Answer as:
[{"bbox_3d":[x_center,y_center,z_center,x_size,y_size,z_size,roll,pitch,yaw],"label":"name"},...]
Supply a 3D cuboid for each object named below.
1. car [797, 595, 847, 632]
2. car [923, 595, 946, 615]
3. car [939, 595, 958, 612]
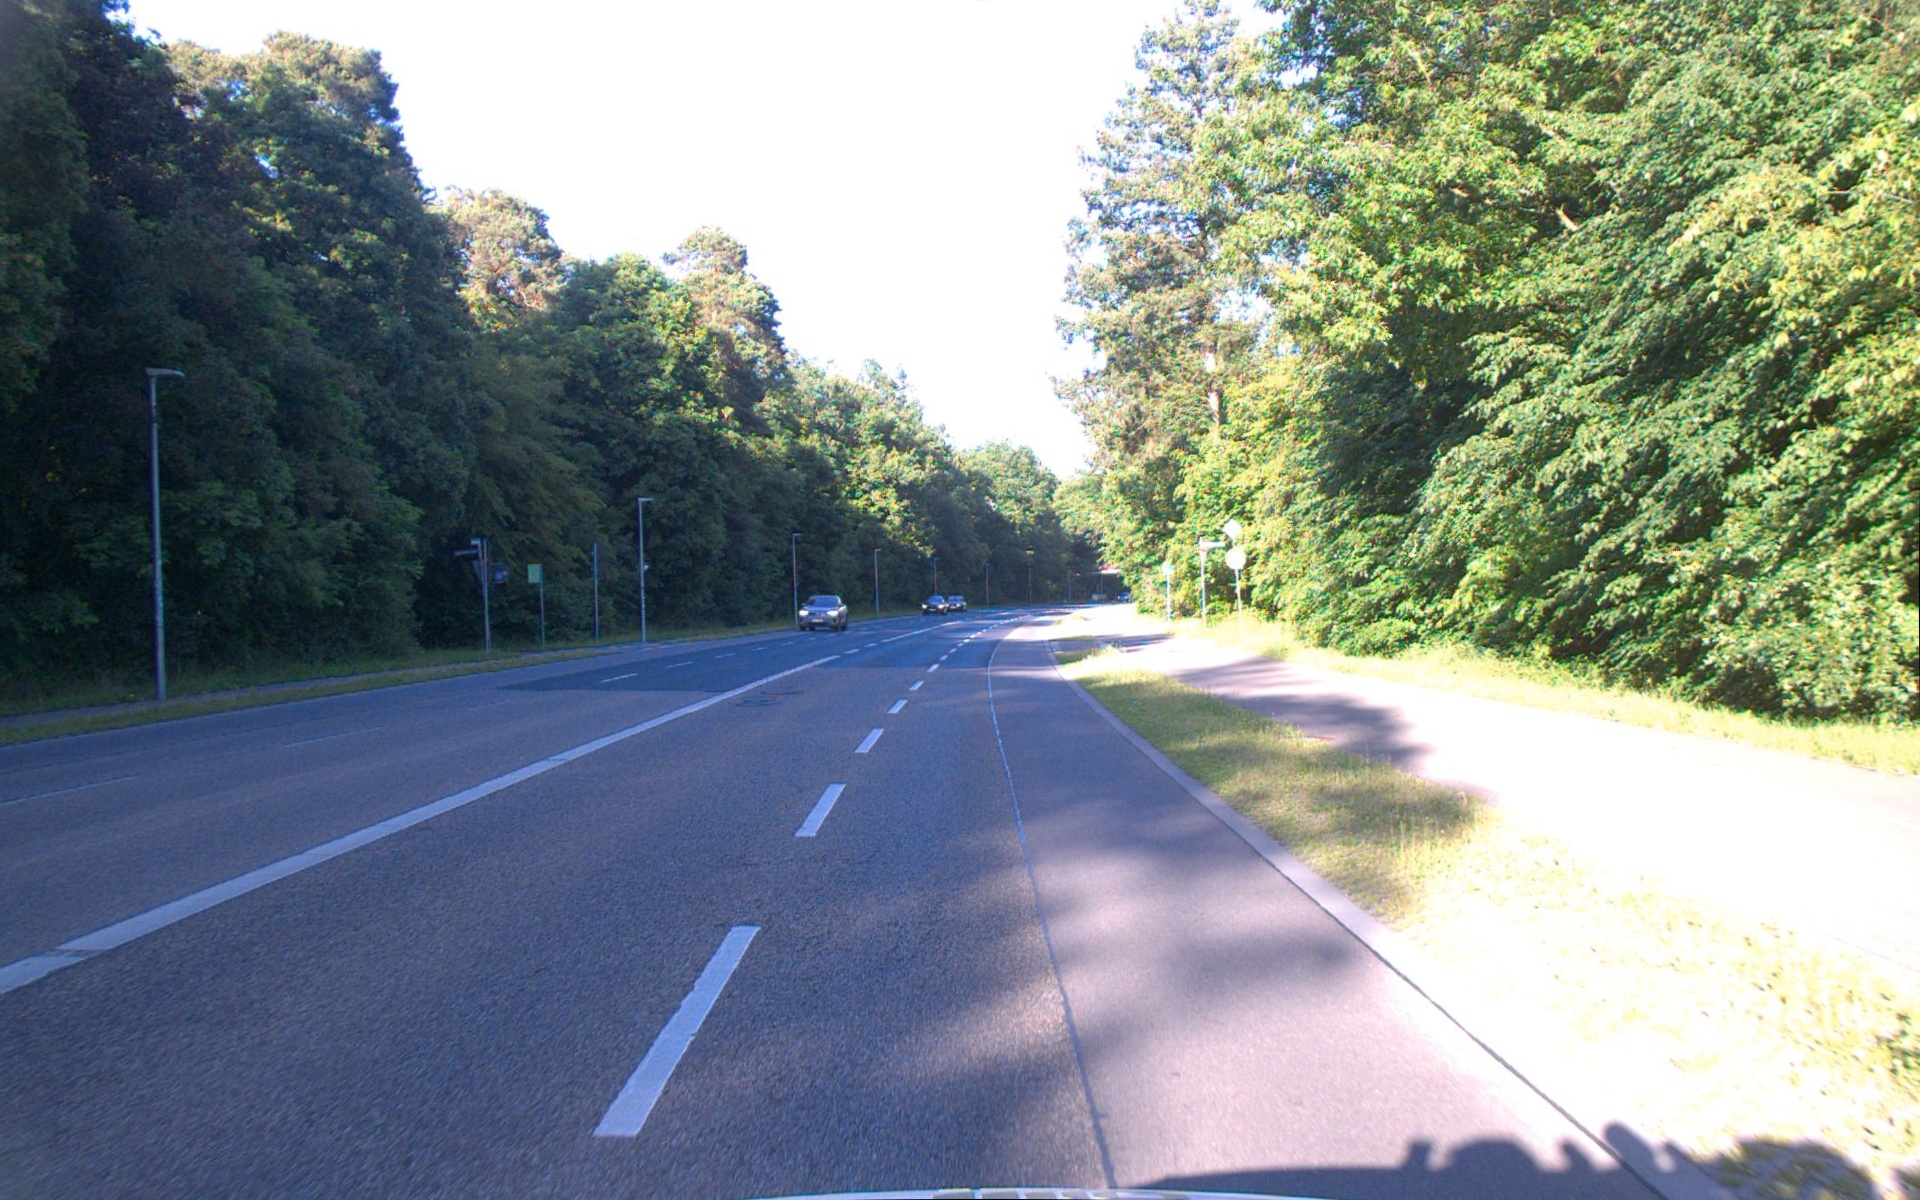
[{"bbox_3d":[-6.339,0.595,76.505,1.857,1.639,4.450,1,0,1],"label":"car"},{"bbox_3d":[-2.021,0.381,131.286,1.703,1.483,3.999,1,0,1],"label":"car"},{"bbox_3d":[-1.061,0.335,150.696,1.623,1.506,4.173,0,0,1],"label":"car"}]
